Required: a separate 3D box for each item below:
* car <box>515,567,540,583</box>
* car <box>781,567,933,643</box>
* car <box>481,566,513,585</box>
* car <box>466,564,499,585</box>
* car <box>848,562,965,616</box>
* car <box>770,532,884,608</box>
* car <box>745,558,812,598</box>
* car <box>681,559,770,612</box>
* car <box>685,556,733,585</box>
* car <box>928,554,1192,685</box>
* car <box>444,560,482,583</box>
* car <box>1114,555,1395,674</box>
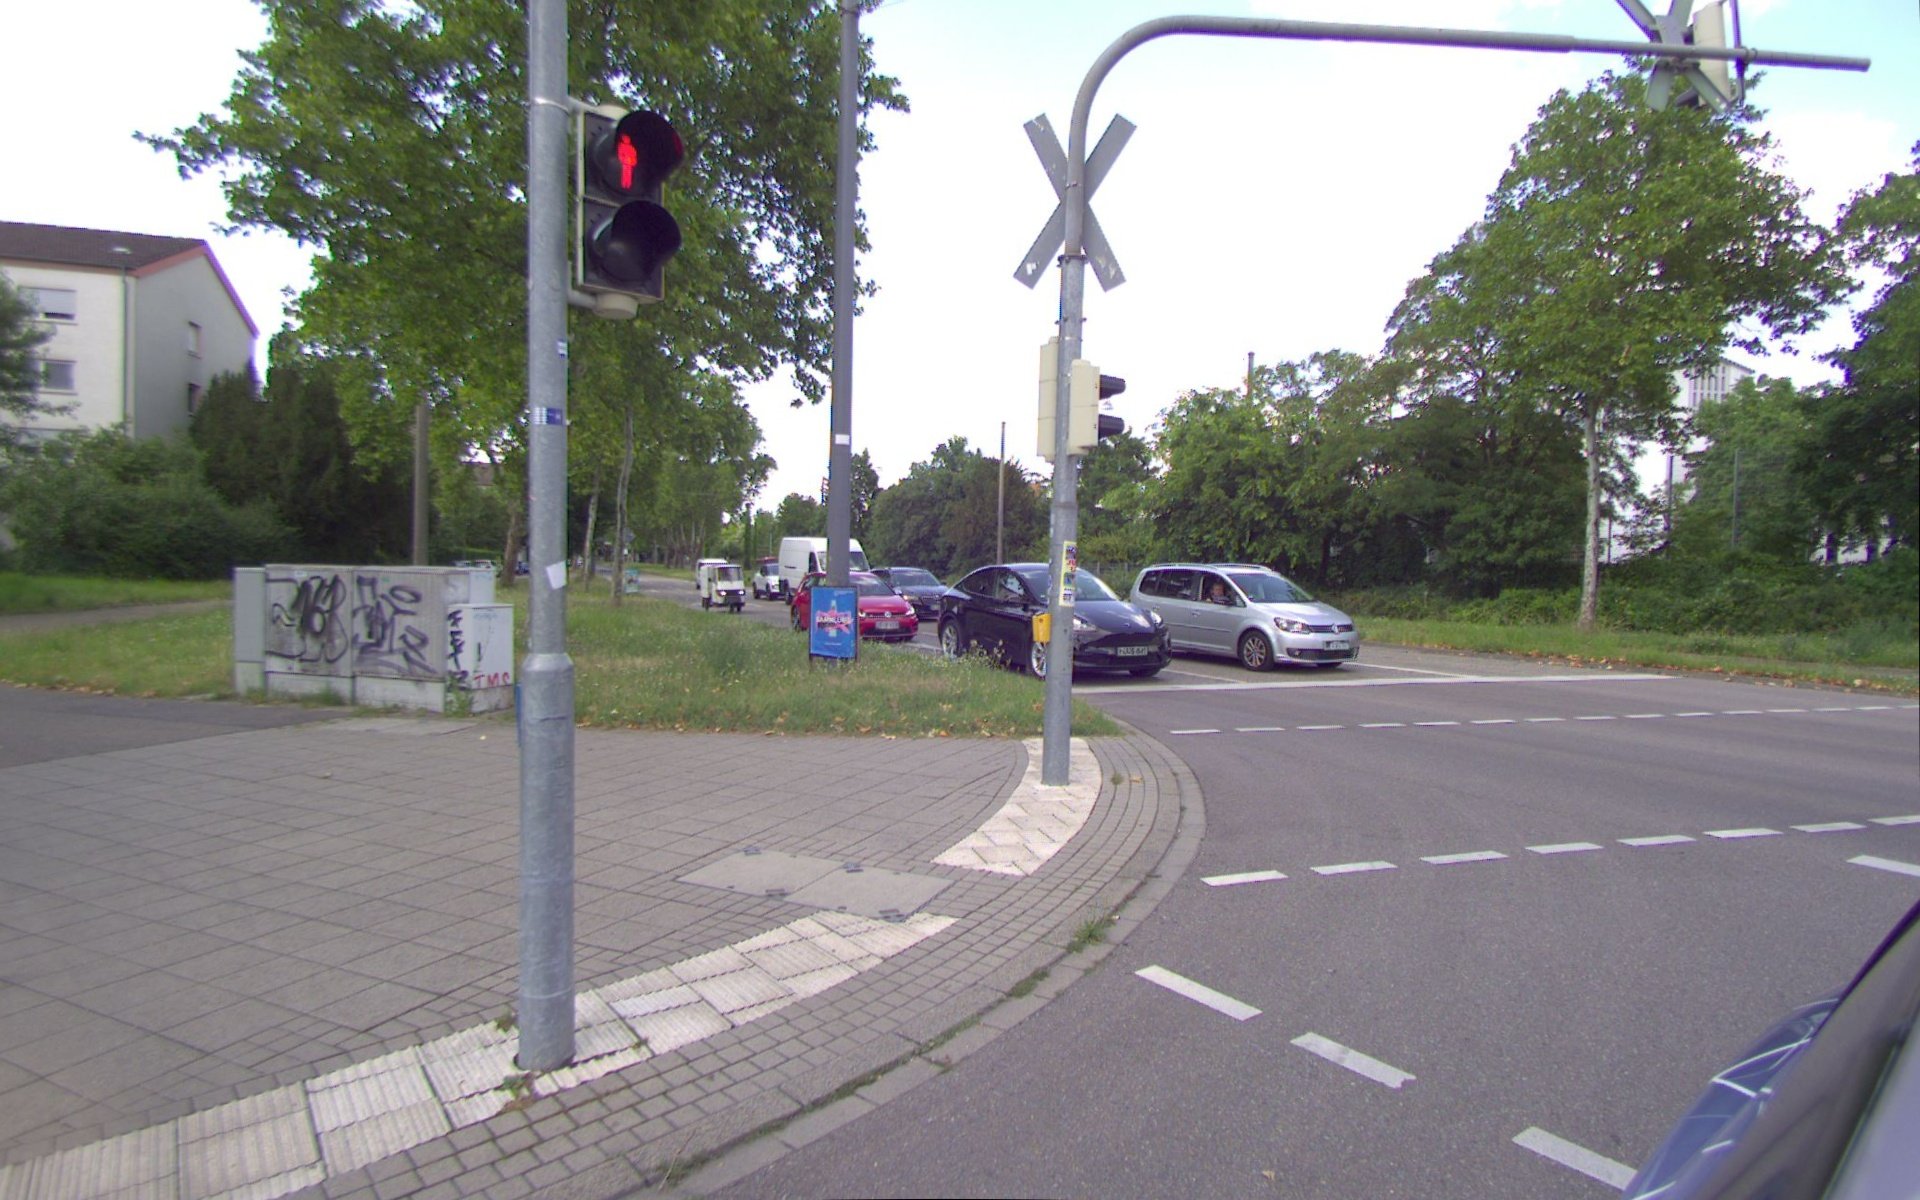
[{"bbox_3d":[-45.848,-2.592,107.251,1.739,1.616,3.663,0,0,-12],"label":"car"},{"bbox_3d":[-2.376,0.018,22.215,1.766,1.408,4.509,-2,3,-28],"label":"car"},{"bbox_3d":[-40.679,-2.141,89.004,1.739,1.616,3.663,0,0,-12],"label":"car"},{"bbox_3d":[-39.962,-2.134,84.771,1.739,1.616,3.663,0,0,-12],"label":"car"},{"bbox_3d":[-1.629,-0.367,29.222,1.729,1.392,4.351,-2,3,-28],"label":"car"},{"bbox_3d":[-4.958,-1.144,36.883,2.183,2.560,5.943,-2,3,-28],"label":"car"},{"bbox_3d":[-7.989,-0.999,44.386,1.806,1.637,4.164,-1,3,-26],"label":"car"},{"bbox_3d":[-7.871,-0.547,33.659,1.766,1.589,4.509,-2,3,-28],"label":"car"},{"bbox_3d":[-15.042,-1.786,60.512,1.729,1.667,4.351,0,2,-28],"label":"car"},{"bbox_3d":[1.311,0.144,15.442,1.892,1.672,4.589,-1,3,-26],"label":"car"},{"bbox_3d":[-37.274,-2.114,75.970,1.739,1.616,3.663,0,0,-12],"label":"car"},{"bbox_3d":[4.686,0.102,16.842,1.892,1.672,4.509,-2,3,-28],"label":"car"}]
